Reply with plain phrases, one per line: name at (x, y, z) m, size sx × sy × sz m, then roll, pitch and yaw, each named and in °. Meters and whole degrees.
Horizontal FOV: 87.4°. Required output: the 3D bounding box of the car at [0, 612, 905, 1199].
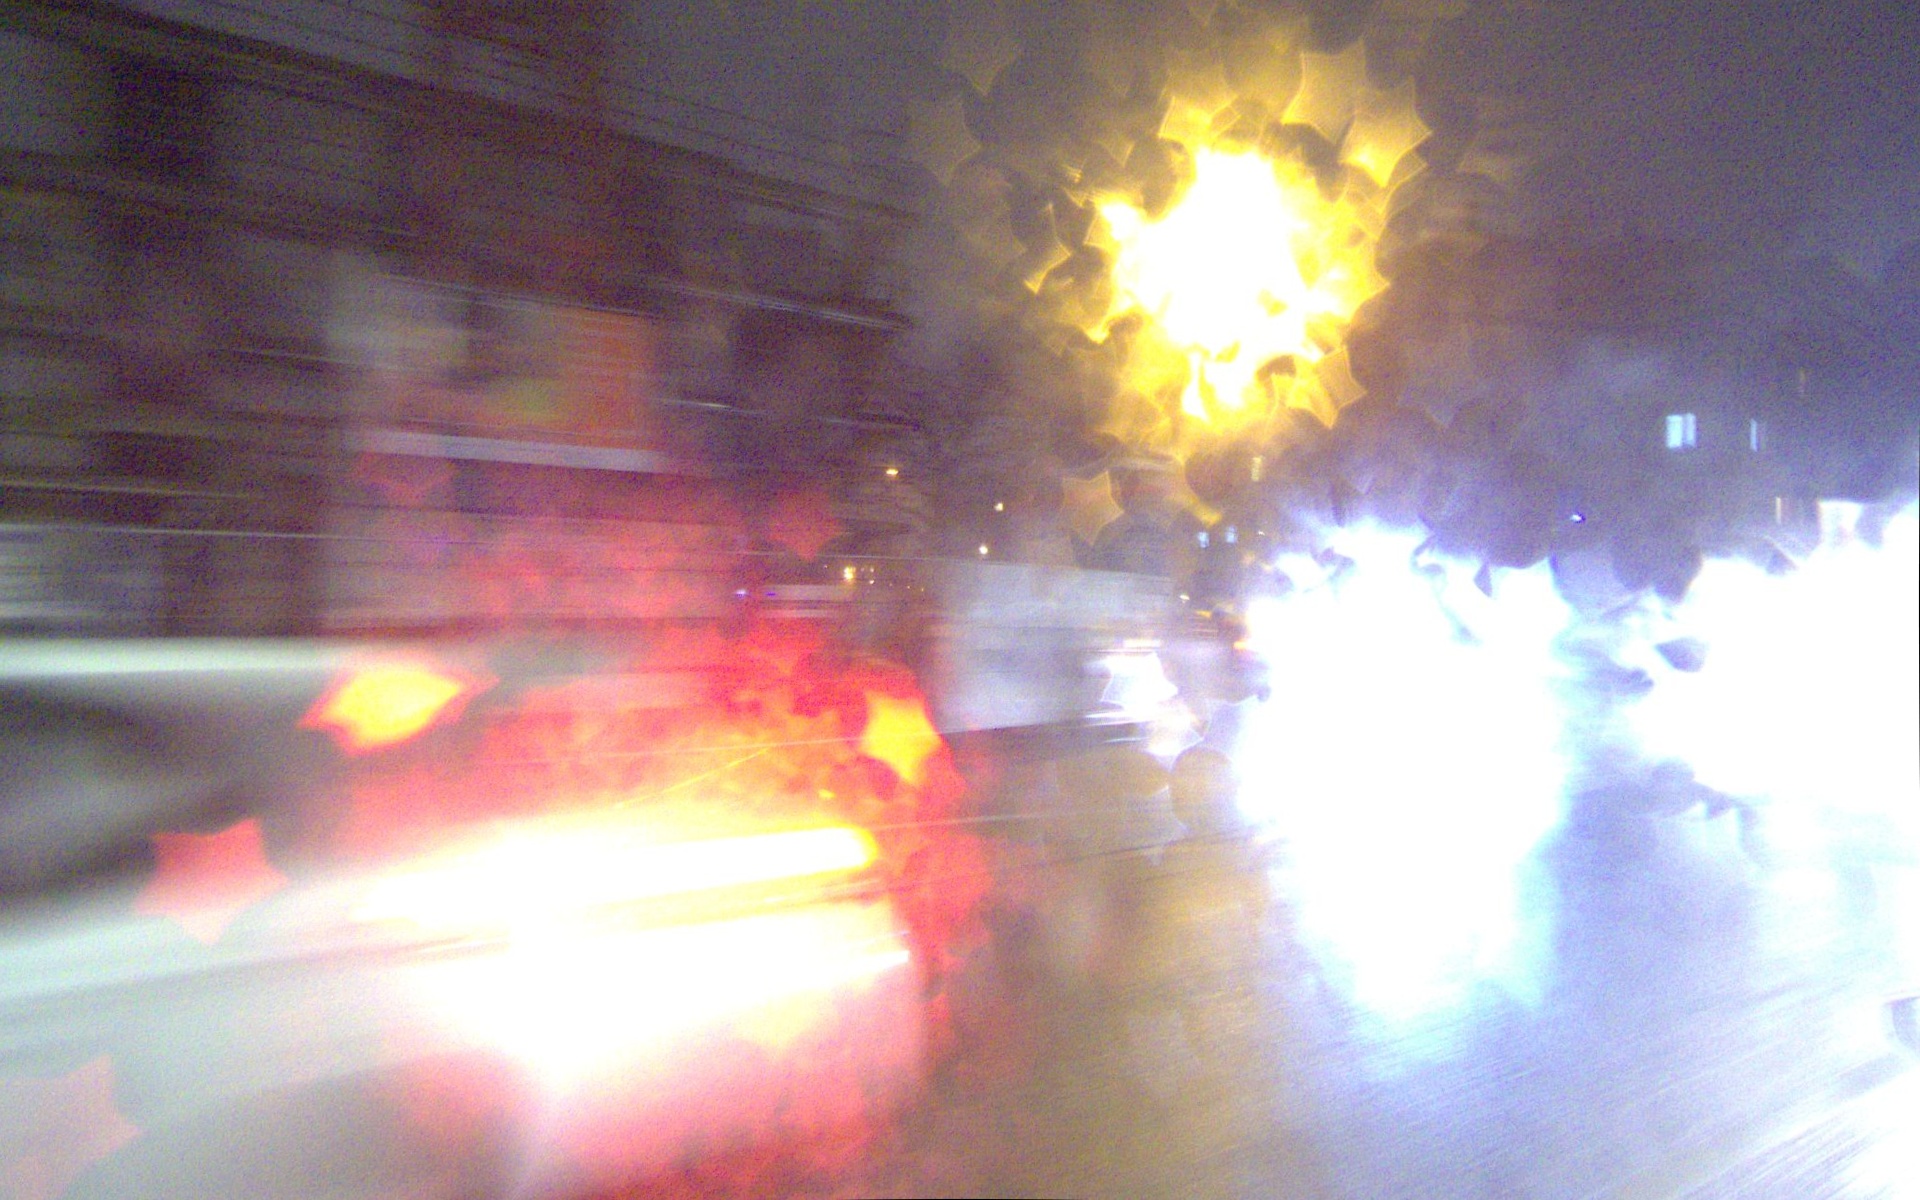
car at (-2.263, 0.756, 2.184) m, size 3.954 × 1.452 × 1.737 m, roll 1°, pitch -1°, yaw -31°

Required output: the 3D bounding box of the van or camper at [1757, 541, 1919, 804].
van or camper at (9.776, 0.622, 9.592) m, size 4.886 × 2.131 × 1.860 m, roll 1°, pitch -1°, yaw -32°

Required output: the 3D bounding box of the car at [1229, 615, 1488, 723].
car at (6.807, 1.098, 17.833) m, size 1.966 × 1.640 × 4.693 m, roll 1°, pitch -1°, yaw -13°
